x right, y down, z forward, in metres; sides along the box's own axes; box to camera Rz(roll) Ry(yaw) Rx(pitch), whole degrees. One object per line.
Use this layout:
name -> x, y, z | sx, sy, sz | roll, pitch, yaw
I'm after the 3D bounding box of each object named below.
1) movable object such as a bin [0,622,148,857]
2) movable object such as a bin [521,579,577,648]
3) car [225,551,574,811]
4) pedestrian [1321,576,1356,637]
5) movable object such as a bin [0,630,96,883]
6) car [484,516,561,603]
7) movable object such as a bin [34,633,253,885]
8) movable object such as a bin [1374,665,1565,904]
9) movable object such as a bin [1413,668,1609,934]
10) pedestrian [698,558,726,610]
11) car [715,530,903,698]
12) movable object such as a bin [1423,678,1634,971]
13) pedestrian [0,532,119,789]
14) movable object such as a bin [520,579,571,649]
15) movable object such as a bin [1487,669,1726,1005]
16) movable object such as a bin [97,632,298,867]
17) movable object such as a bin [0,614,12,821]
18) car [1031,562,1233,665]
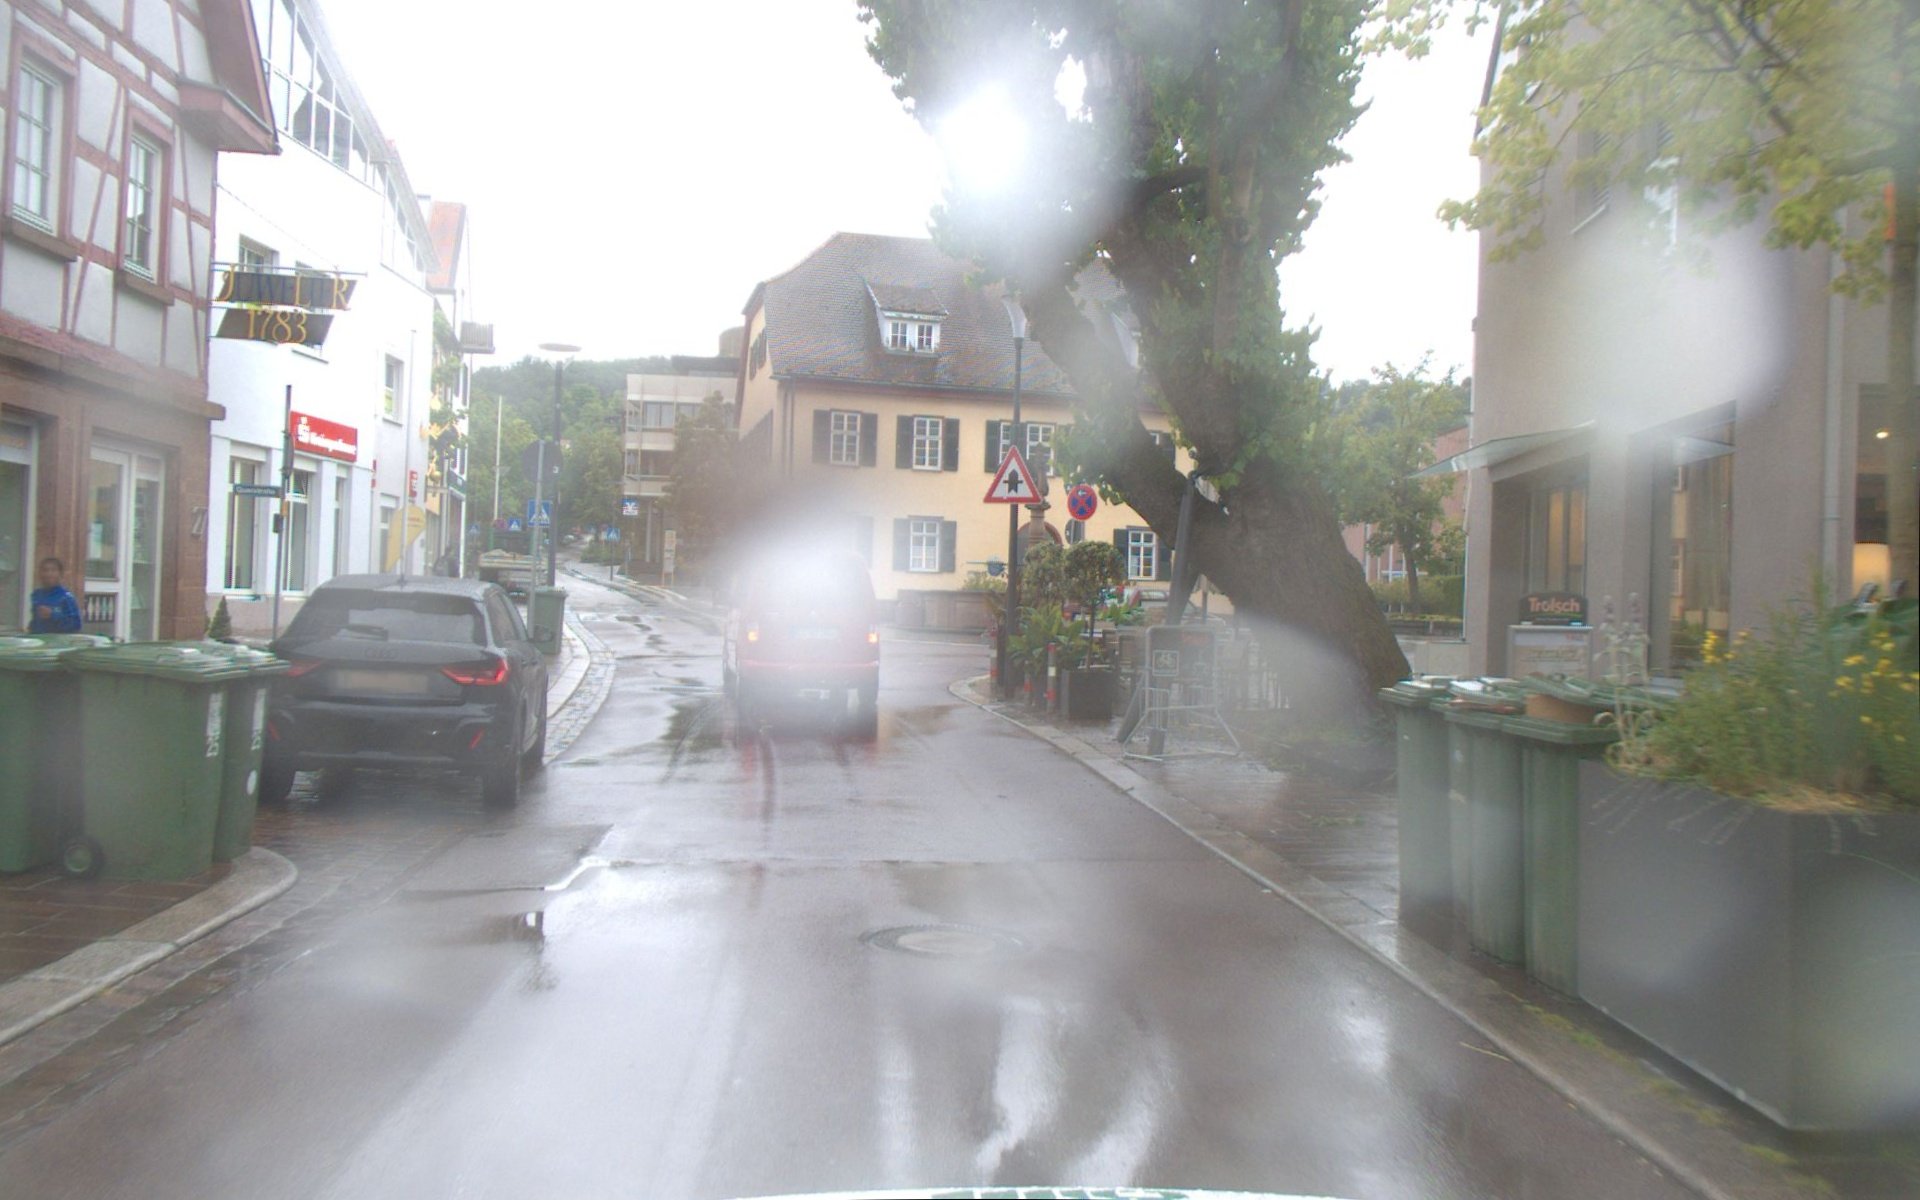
movable object such as a bin -> -4.674, 0.695, 8.454 | 0.711, 1.129, 0.596 | 3, -1, -5
movable object such as a bin -> -7.014, 0.241, 28.235 | 0.779, 1.125, 0.721 | 3, -1, -7
car -> -3.880, 0.469, 12.113 | 1.755, 1.521, 3.991 | 3, 1, -10
pedestrian -> 11.905, 0.217, 52.004 | 0.880, 1.874, 0.766 | 3, -1, 1
movable object such as a bin -> -4.626, 0.714, 7.830 | 0.711, 1.129, 0.596 | 3, -1, -5
car -> -15.086, -1.289, 56.727 | 2.262, 2.647, 6.926 | 3, -1, -16
movable object such as a bin -> -3.900, 0.743, 7.946 | 0.711, 1.129, 0.596 | 3, -1, -5
movable object such as a bin -> 2.509, 0.891, 8.203 | 0.706, 1.092, 0.648 | 3, -1, -1
movable object such as a bin -> 2.506, 0.896, 7.573 | 0.663, 1.122, 0.579 | 3, -1, -1
pedestrian -> -9.182, -0.575, 61.282 | 0.748, 1.874, 0.902 | 2, -1, 5
car -> -2.016, 0.106, 20.983 | 1.861, 1.842, 3.989 | 3, 1, -12
movable object such as a bin -> 2.349, 0.908, 6.880 | 0.619, 1.123, 0.579 | 3, -1, -5
pedestrian -> -6.346, 0.420, 11.618 | 0.508, 1.741, 0.578 | 3, -1, -4
movable object such as a bin -> -6.892, 0.233, 27.545 | 0.701, 1.125, 0.599 | 3, -1, -7
movable object such as a bin -> 2.432, 0.870, 6.270 | 0.619, 1.170, 0.579 | 3, -1, -5
movable object such as a bin -> -3.938, 0.757, 8.589 | 0.711, 1.129, 0.644 | 3, 0, -5
movable object such as a bin -> -5.396, 0.622, 8.502 | 0.647, 1.129, 0.615 | 3, -1, -5
car -> 3.458, 0.294, 32.753 | 1.965, 1.831, 3.974 | 2, -2, 43
